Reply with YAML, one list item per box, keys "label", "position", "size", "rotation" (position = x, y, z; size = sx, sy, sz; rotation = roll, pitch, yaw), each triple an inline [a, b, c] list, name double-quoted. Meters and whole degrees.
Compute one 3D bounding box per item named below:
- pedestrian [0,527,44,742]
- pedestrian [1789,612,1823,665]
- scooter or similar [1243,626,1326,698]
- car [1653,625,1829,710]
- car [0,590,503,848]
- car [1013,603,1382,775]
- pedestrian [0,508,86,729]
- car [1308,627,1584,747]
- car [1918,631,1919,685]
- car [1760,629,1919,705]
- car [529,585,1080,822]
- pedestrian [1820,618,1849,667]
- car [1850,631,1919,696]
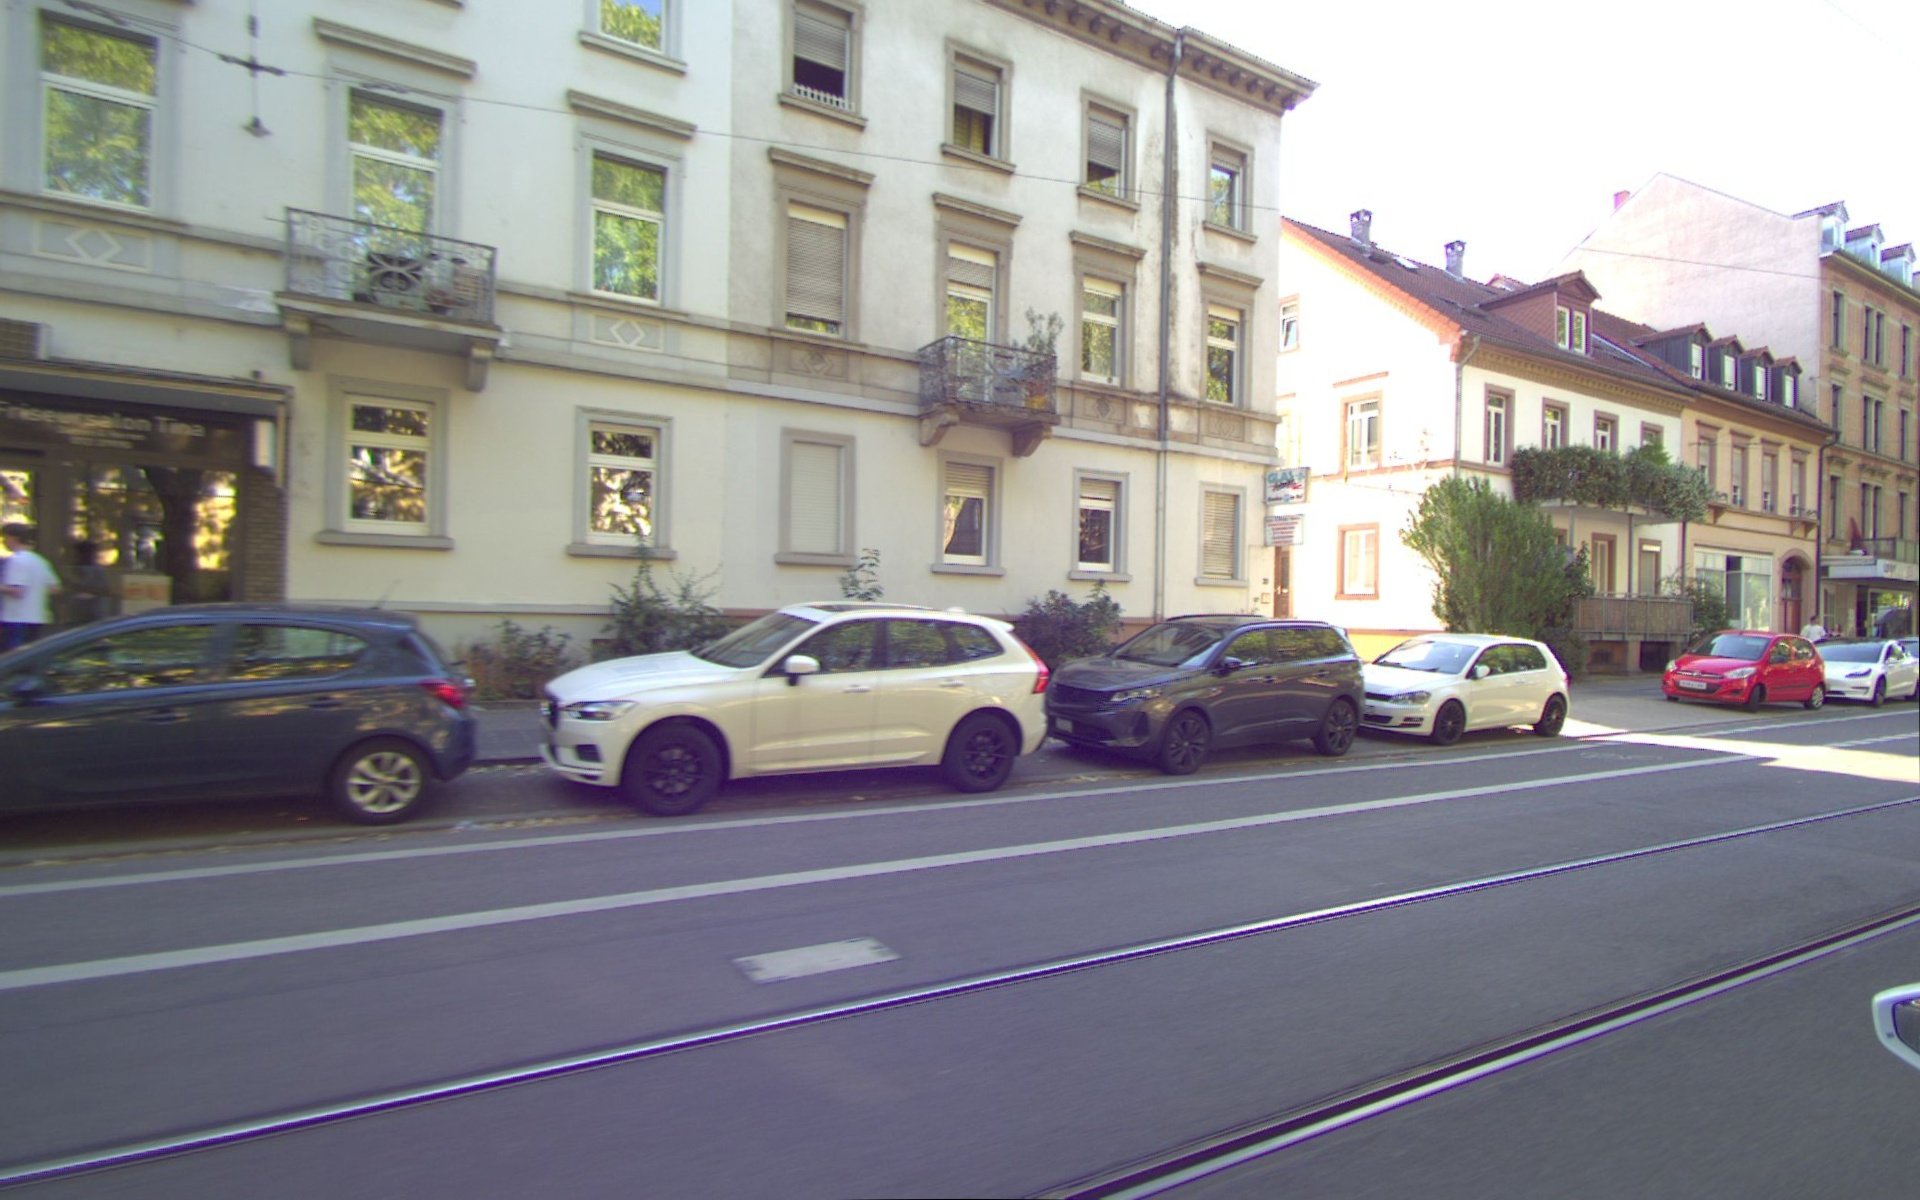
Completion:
- label: "pedestrian"
  position: [-8.666, 0.289, 8.785]
  size: [0.821, 1.845, 0.755]
  rotation: [1, 0, -34]
- label: "pedestrian"
  position: [27.111, 1.228, 32.187]
  size: [0.764, 1.656, 0.653]
  rotation: [2, 1, 44]
- label: "scooter or similar"
  position: [6.110, 1.160, 18.906]
  size: [1.552, 1.297, 0.445]
  rotation: [1, -1, -23]
- label: "car"
  position: [15.962, 1.332, 20.517]
  size: [3.404, 1.583, 1.563]
  rotation: [1, -1, -27]
- label: "car"
  position: [-5.397, 0.731, 7.049]
  size: [3.876, 1.535, 1.547]
  rotation: [1, -1, -29]
- label: "car"
  position: [3.009, 0.956, 12.241]
  size: [4.615, 1.726, 1.844]
  rotation: [2, -1, -36]
- label: "pedestrian"
  position: [-9.002, 0.172, 9.612]
  size: [0.821, 2.040, 0.755]
  rotation: [1, 0, -33]
- label: "car"
  position: [7.323, 1.211, 15.040]
  size: [4.209, 1.496, 1.678]
  rotation: [2, 1, -31]
- label: "car"
  position: [28.845, 1.558, 28.483]
  size: [3.644, 1.755, 1.547]
  rotation: [1, 1, -32]
- label: "car"
  position: [20.487, 1.490, 23.158]
  size: [4.638, 1.523, 1.816]
  rotation: [2, 1, -33]
- label: "car"
  position: [-1.335, 0.812, 9.325]
  size: [4.707, 1.726, 1.848]
  rotation: [1, -1, -30]
- label: "pedestrian"
  position: [27.630, 1.338, 31.725]
  size: [0.628, 1.480, 0.653]
  rotation: [2, 1, 43]
- label: "car"
  position: [25.110, 1.630, 26.069]
  size: [4.400, 1.523, 1.817]
  rotation: [2, 1, -32]
